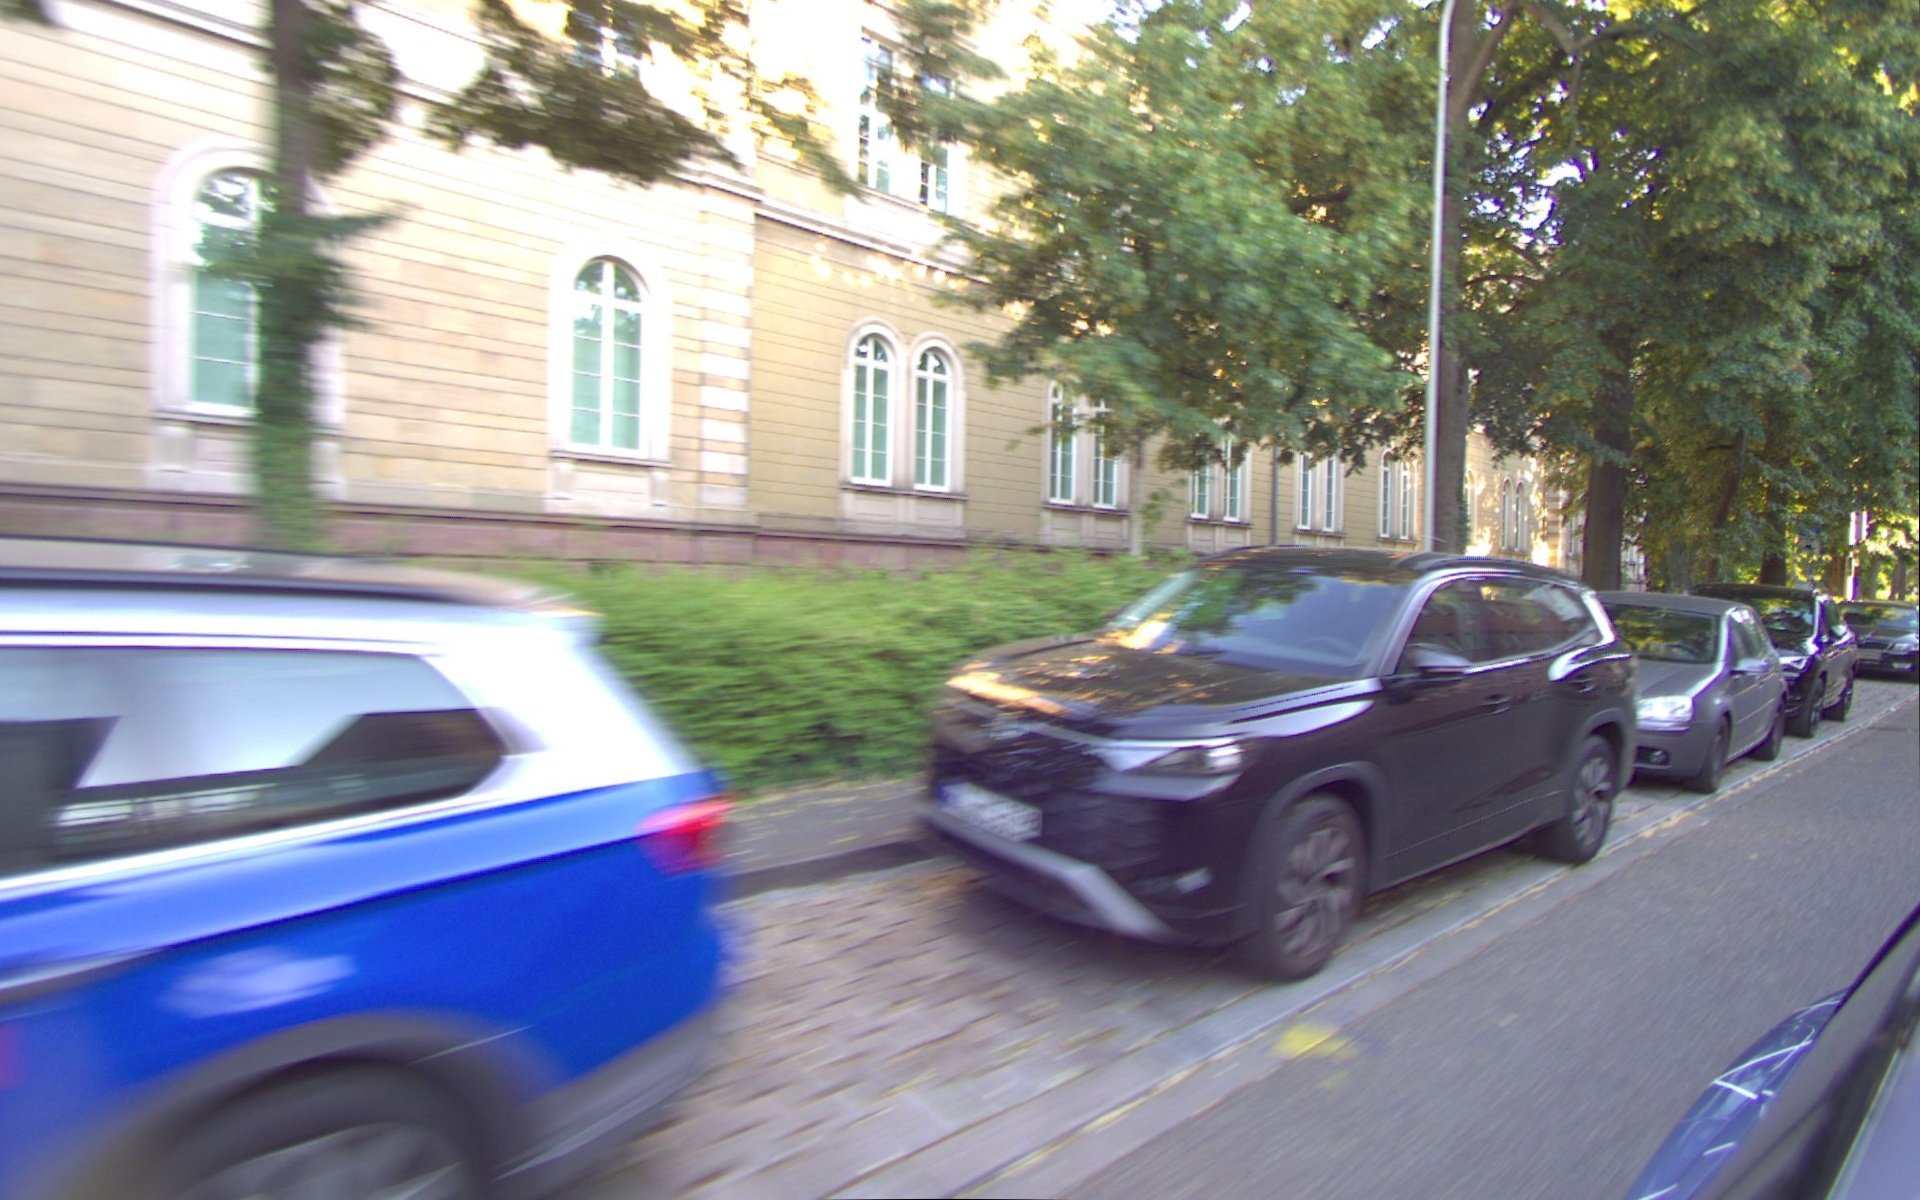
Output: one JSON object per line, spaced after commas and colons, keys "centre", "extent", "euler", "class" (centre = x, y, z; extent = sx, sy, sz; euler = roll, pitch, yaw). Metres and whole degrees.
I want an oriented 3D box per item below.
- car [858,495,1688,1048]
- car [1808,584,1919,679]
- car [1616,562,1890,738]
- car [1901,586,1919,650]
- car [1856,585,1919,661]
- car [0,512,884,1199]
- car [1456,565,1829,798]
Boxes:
{"centre": [1.903, 0.457, 5.174], "extent": [4.628, 1.671, 1.728], "euler": [-1, 3, -38], "class": "car"}
{"centre": [18.110, 0.525, 19.702], "extent": [4.445, 1.524, 1.739], "euler": [-1, 6, -42], "class": "car"}
{"centre": [9.887, 0.502, 12.491], "extent": [4.342, 1.670, 1.811], "euler": [0, 5, -42], "class": "car"}
{"centre": [26.104, 0.500, 26.406], "extent": [4.544, 1.551, 1.728], "euler": [-1, 7, -42], "class": "car"}
{"centre": [22.439, 0.510, 23.455], "extent": [4.114, 1.551, 1.729], "euler": [-1, 6, -39], "class": "car"}
{"centre": [-2.446, 0.612, 1.454], "extent": [4.533, 1.506, 1.727], "euler": [-1, 5, -43], "class": "car"}
{"centre": [6.117, 0.535, 8.872], "extent": [4.117, 1.557, 1.727], "euler": [0, 2, -42], "class": "car"}
